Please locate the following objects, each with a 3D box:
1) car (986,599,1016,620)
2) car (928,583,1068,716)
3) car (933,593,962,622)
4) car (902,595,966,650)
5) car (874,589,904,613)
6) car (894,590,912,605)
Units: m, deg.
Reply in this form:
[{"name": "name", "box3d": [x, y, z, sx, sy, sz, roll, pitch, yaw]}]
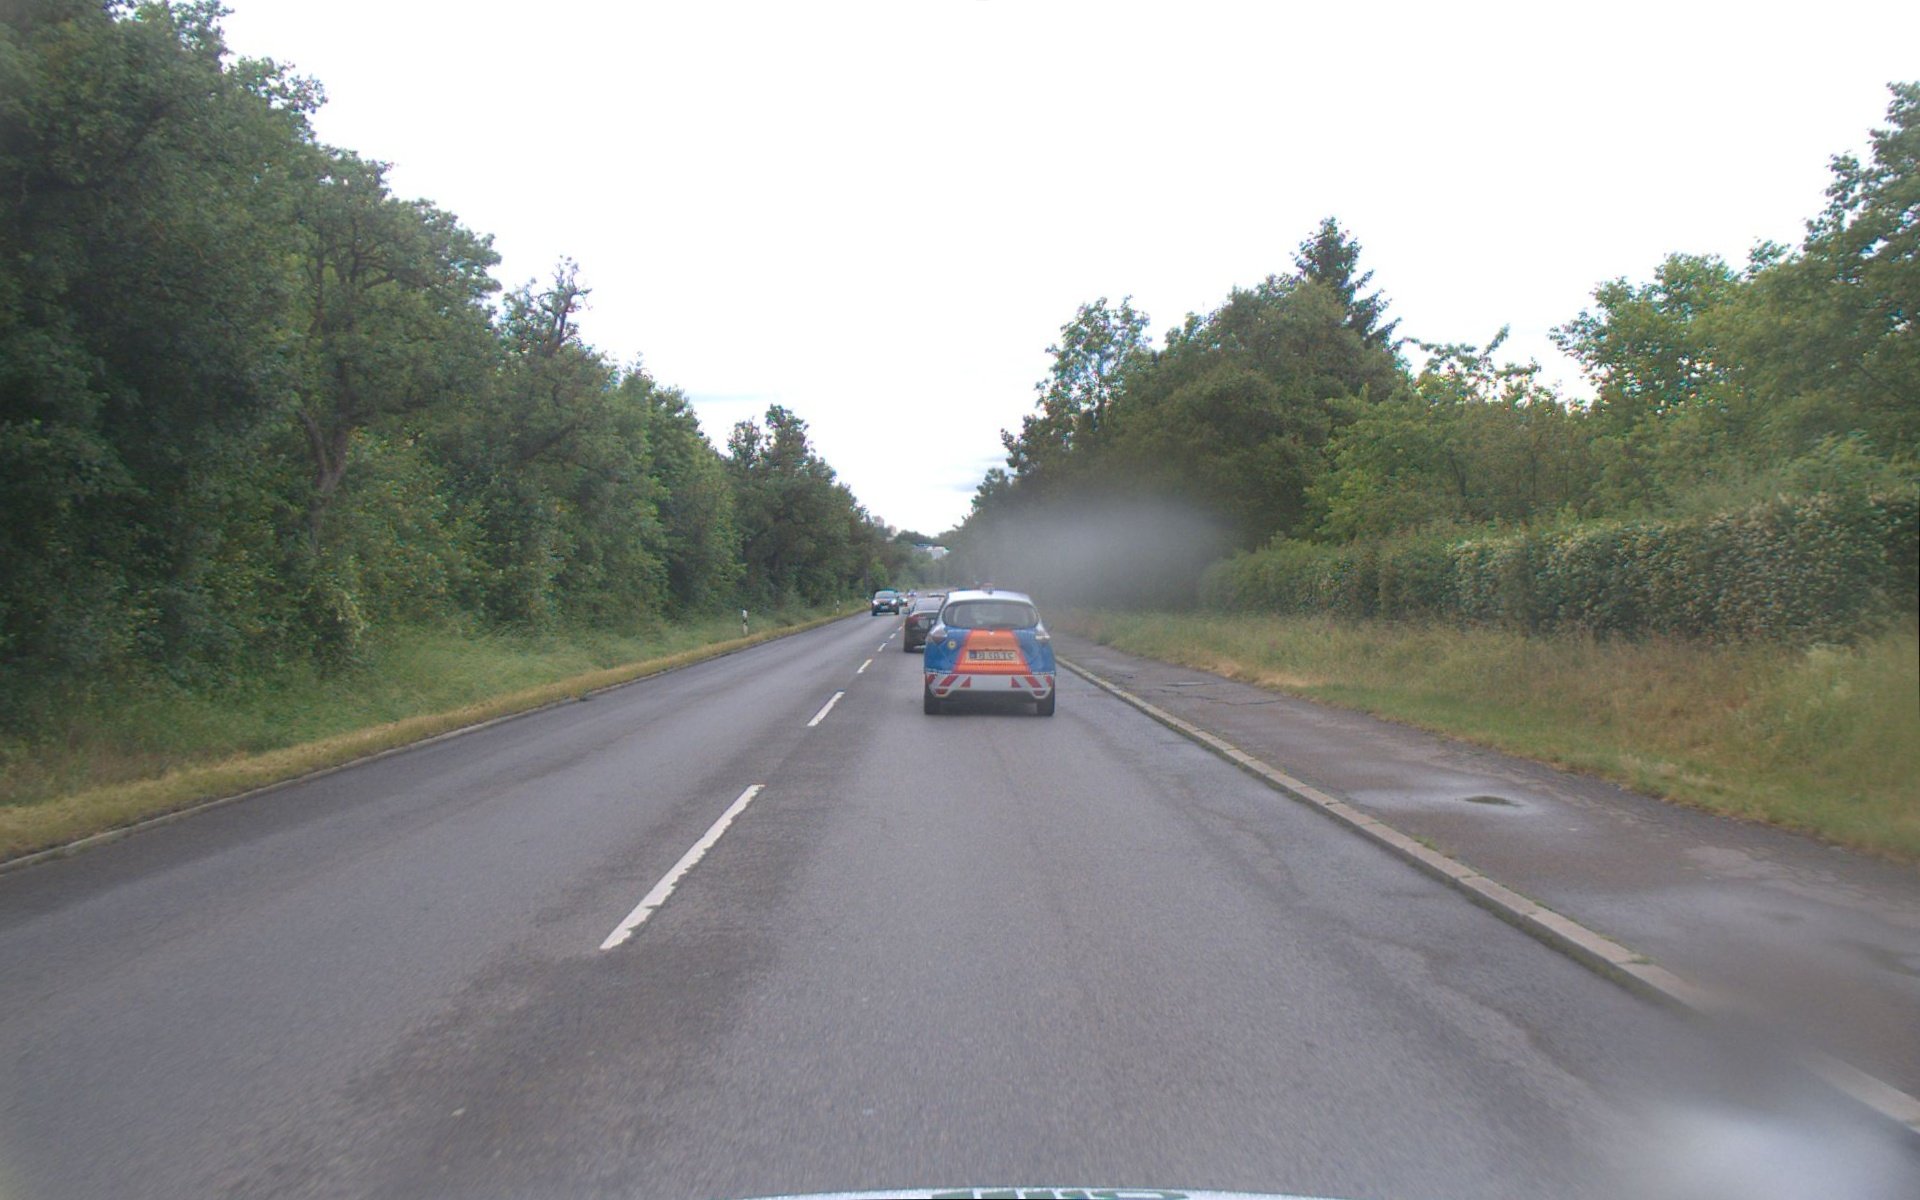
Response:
[{"name": "car", "box3d": [2.851, 0.636, 114.950, 1.953, 1.400, 4.000, -1, 0, 0]}, {"name": "car", "box3d": [0.436, 0.588, 22.238, 1.716, 1.582, 3.792, 1, 1, -1]}, {"name": "car", "box3d": [-0.799, 0.455, 106.578, 1.752, 1.750, 4.000, -1, 0, -1]}, {"name": "car", "box3d": [-0.651, 0.550, 42.780, 1.566, 1.309, 3.476, -1, 0, 0]}, {"name": "car", "box3d": [-4.877, 0.075, 114.316, 1.866, 1.584, 4.515, -1, 0, 0]}, {"name": "car", "box3d": [-5.782, -0.226, 168.163, 1.676, 1.423, 4.149, -3, 0, -2]}]
